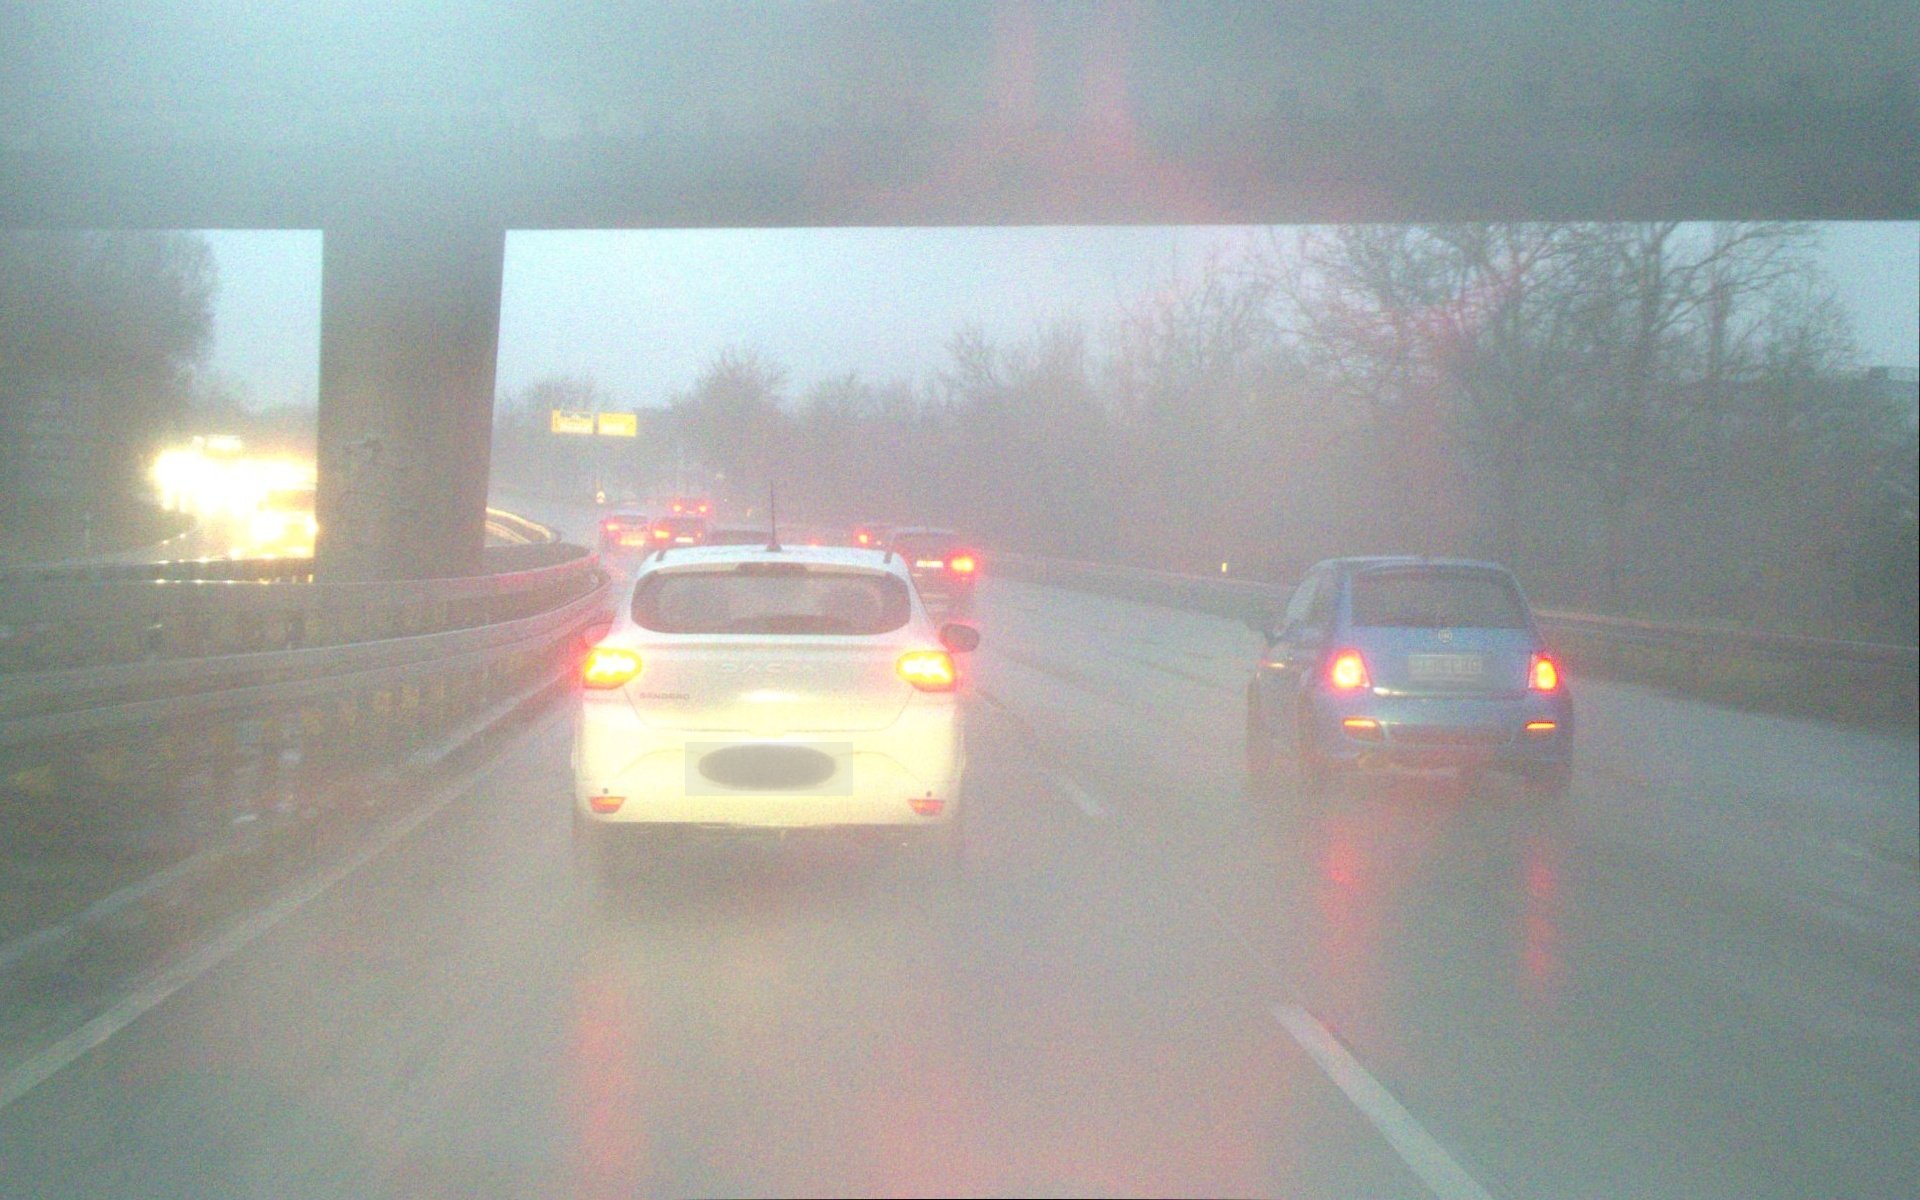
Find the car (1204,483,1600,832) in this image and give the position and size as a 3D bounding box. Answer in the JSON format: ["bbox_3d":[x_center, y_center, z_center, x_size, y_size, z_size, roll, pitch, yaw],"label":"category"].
[{"bbox_3d":[2.799,0.353,22.591,1.932,2.012,3.773,3,0,-2],"label":"car"}]

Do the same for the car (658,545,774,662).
[{"bbox_3d":[-4.511,0.067,63.890,1.993,2.007,4.000,3,0,-3],"label":"car"}]

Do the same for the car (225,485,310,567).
[{"bbox_3d":[-22.567,-2.376,112.246,2.145,2.460,5.143,3,0,-6],"label":"car"}]

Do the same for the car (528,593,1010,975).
[{"bbox_3d":[-0.823,0.808,16.957,2.025,1.569,4.000,3,0,0],"label":"car"}]

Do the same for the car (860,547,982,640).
[{"bbox_3d":[-0.781,-0.104,66.323,1.932,1.541,3.773,-3,-2,-6],"label":"car"}]
